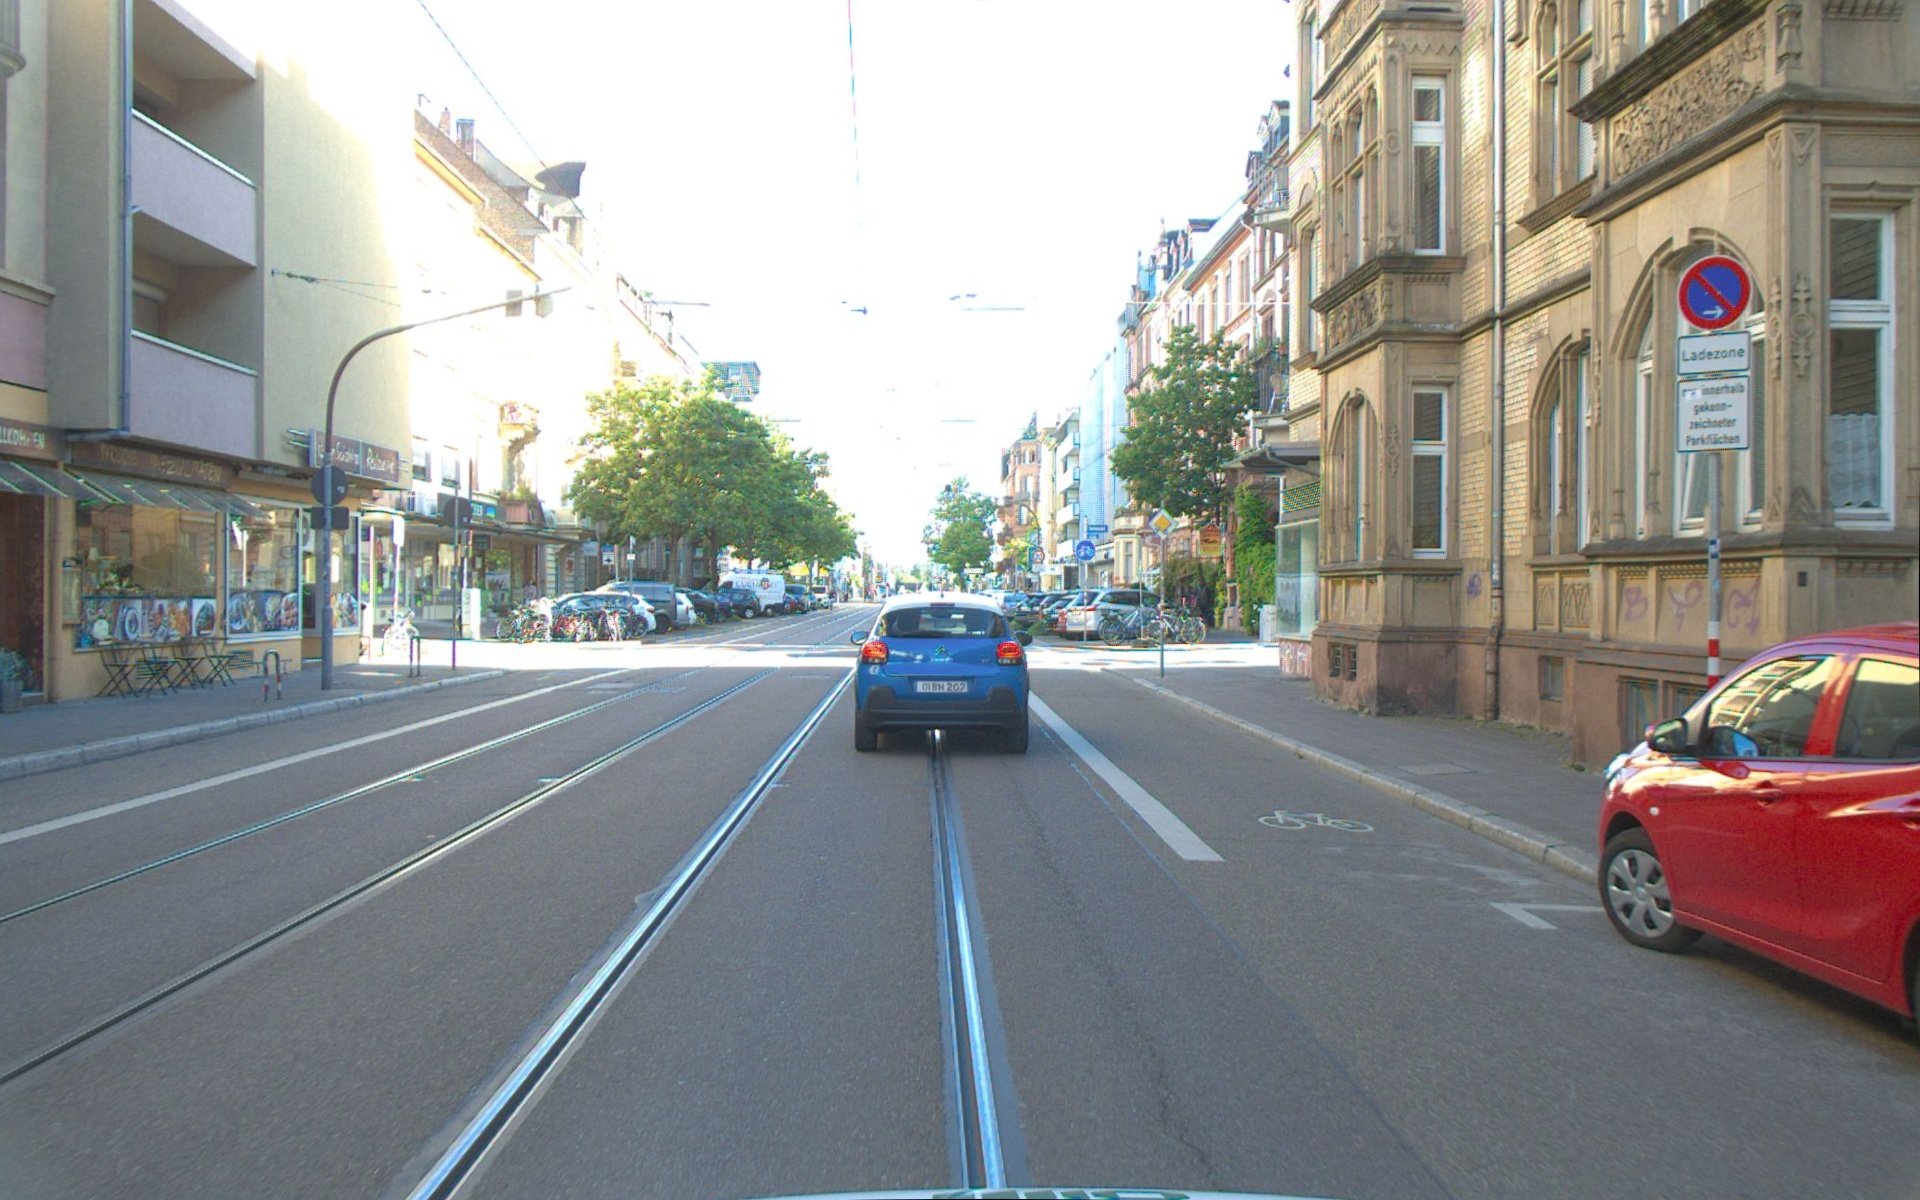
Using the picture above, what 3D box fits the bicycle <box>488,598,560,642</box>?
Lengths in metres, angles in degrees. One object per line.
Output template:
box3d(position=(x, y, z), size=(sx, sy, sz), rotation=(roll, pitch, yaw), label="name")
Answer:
box3d(position=(-12.245, 0.550, 46.433), size=(2.390, 1.128, 0.680), rotation=(3, 3, 39), label="bicycle")

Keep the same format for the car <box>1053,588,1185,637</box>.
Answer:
box3d(position=(5.248, 0.403, 54.454), size=(3.938, 1.563, 1.902), rotation=(1, 0, -26), label="car")

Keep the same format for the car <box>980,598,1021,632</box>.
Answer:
box3d(position=(1.997, 0.737, 82.694), size=(1.835, 1.624, 4.718), rotation=(1, 0, -1), label="car")

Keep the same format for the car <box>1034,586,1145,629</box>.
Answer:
box3d(position=(5.117, 0.303, 65.210), size=(3.938, 1.624, 1.943), rotation=(1, 0, -26), label="car")

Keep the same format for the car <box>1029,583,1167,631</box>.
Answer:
box3d(position=(4.810, 0.256, 57.652), size=(4.380, 1.624, 2.071), rotation=(1, 0, -26), label="car")

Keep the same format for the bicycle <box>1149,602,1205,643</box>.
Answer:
box3d(position=(6.092, 0.629, 46.405), size=(1.523, 1.147, 0.552), rotation=(1, 0, 5), label="bicycle")

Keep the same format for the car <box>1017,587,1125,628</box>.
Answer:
box3d(position=(4.545, 0.300, 67.946), size=(3.938, 1.624, 2.070), rotation=(1, 0, -26), label="car")

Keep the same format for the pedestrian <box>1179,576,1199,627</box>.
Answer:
box3d(position=(7.654, 0.038, 55.276), size=(0.507, 1.677, 0.863), rotation=(1, 0, -1), label="pedestrian")

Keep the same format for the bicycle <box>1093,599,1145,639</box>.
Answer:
box3d(position=(4.692, 0.564, 48.811), size=(1.527, 1.147, 0.295), rotation=(1, 0, 5), label="bicycle")

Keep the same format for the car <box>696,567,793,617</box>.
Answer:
box3d(position=(-12.369, -0.447, 95.094), size=(5.317, 2.797, 1.787), rotation=(1, 0, -32), label="car")

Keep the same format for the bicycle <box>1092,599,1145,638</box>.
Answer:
box3d(position=(4.651, 0.541, 48.467), size=(1.523, 1.098, 0.307), rotation=(1, 0, 5), label="bicycle")

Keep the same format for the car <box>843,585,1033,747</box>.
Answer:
box3d(position=(-0.252, 0.606, 16.931), size=(1.727, 1.466, 3.555), rotation=(1, 0, -2), label="car")

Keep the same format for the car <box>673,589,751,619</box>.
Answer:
box3d(position=(-13.347, 0.216, 89.046), size=(3.925, 1.515, 1.797), rotation=(1, 0, -18), label="car")

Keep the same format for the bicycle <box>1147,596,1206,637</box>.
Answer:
box3d(position=(6.216, 0.475, 47.569), size=(1.639, 1.147, 0.552), rotation=(1, 0, 5), label="bicycle")

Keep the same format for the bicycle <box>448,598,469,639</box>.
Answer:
box3d(position=(-14.220, 0.512, 46.887), size=(0.397, 1.129, 1.825), rotation=(0, 0, -22), label="bicycle")

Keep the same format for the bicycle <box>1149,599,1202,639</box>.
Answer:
box3d(position=(6.329, 0.545, 48.683), size=(1.523, 1.147, 0.552), rotation=(1, 0, 5), label="bicycle")

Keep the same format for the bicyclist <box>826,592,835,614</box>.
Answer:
box3d(position=(-9.923, 0.228, 126.542), size=(0.621, 1.711, 0.726), rotation=(1, 0, -1), label="bicyclist")

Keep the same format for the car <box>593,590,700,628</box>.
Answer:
box3d(position=(-12.276, 0.345, 64.700), size=(3.787, 1.455, 1.750), rotation=(1, 0, -28), label="car")

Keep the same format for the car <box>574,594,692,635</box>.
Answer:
box3d(position=(-12.128, 0.526, 61.340), size=(3.971, 1.475, 1.679), rotation=(1, 0, -34), label="car")

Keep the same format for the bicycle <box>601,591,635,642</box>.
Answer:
box3d(position=(-9.793, 0.452, 47.453), size=(0.668, 1.342, 2.433), rotation=(1, 2, -5), label="bicycle")

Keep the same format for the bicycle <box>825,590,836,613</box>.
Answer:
box3d(position=(-9.933, 0.102, 126.624), size=(0.666, 1.708, 2.096), rotation=(1, 0, -1), label="bicycle")

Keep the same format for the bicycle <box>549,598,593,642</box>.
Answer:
box3d(position=(-11.090, 0.570, 47.091), size=(0.675, 1.143, 1.867), rotation=(-1, 3, -32), label="bicycle")

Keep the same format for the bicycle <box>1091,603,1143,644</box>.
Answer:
box3d(position=(4.429, 0.653, 46.654), size=(1.372, 1.147, 0.550), rotation=(1, 0, -10), label="bicycle")

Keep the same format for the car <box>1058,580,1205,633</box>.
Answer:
box3d(position=(5.401, 0.213, 52.047), size=(4.298, 1.624, 1.838), rotation=(1, 0, -26), label="car")

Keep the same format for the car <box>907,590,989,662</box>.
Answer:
box3d(position=(-0.306, 0.600, 39.605), size=(1.835, 1.624, 3.999), rotation=(1, 0, -1), label="car")

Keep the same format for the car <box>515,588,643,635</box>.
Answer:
box3d(position=(-11.521, 0.348, 50.091), size=(3.432, 1.361, 1.604), rotation=(1, 0, -36), label="car")

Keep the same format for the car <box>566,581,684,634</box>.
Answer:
box3d(position=(-11.895, 0.282, 58.775), size=(3.769, 1.816, 1.779), rotation=(1, 0, -30), label="car")

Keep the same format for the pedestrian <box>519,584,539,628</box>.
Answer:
box3d(position=(-16.526, 0.220, 63.422), size=(0.558, 1.681, 0.641), rotation=(1, 0, -1), label="pedestrian")

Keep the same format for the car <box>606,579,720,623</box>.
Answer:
box3d(position=(-12.471, 0.054, 69.483), size=(4.314, 1.814, 1.972), rotation=(1, 0, -34), label="car")

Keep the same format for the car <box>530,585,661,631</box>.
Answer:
box3d(position=(-11.658, 0.257, 52.998), size=(3.747, 1.424, 1.734), rotation=(1, 0, -35), label="car")

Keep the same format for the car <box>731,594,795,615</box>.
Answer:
box3d(position=(-12.494, 0.315, 105.020), size=(3.752, 1.287, 1.503), rotation=(1, 0, -27), label="car")

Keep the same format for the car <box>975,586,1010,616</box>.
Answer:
box3d(position=(1.819, 0.052, 94.346), size=(1.835, 1.624, 3.999), rotation=(1, 0, -1), label="car")

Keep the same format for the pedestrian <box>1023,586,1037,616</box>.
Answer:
box3d(position=(3.880, 0.065, 91.492), size=(0.697, 1.635, 0.654), rotation=(1, 0, -2), label="pedestrian")

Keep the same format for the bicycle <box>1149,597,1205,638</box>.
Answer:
box3d(position=(6.160, 0.485, 46.993), size=(1.523, 1.147, 0.528), rotation=(1, 0, 5), label="bicycle")

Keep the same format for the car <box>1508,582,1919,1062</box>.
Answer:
box3d(position=(3.971, 0.708, 6.766), size=(1.828, 1.508, 4.399), rotation=(-3, 0, -2), label="car")

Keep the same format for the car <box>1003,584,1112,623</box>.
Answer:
box3d(position=(4.180, 0.154, 70.570), size=(4.250, 1.624, 1.966), rotation=(1, 0, -26), label="car")

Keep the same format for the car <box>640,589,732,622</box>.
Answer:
box3d(position=(-12.868, 0.268, 77.685), size=(3.944, 1.515, 1.788), rotation=(1, 0, -30), label="car")

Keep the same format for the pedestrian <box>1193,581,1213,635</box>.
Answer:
box3d(position=(8.179, 0.275, 55.637), size=(0.507, 1.809, 0.863), rotation=(1, 0, -1), label="pedestrian")

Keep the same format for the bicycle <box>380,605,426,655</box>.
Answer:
box3d(position=(-14.101, 0.745, 41.930), size=(0.668, 1.128, 2.432), rotation=(0, 2, -8), label="bicycle")
